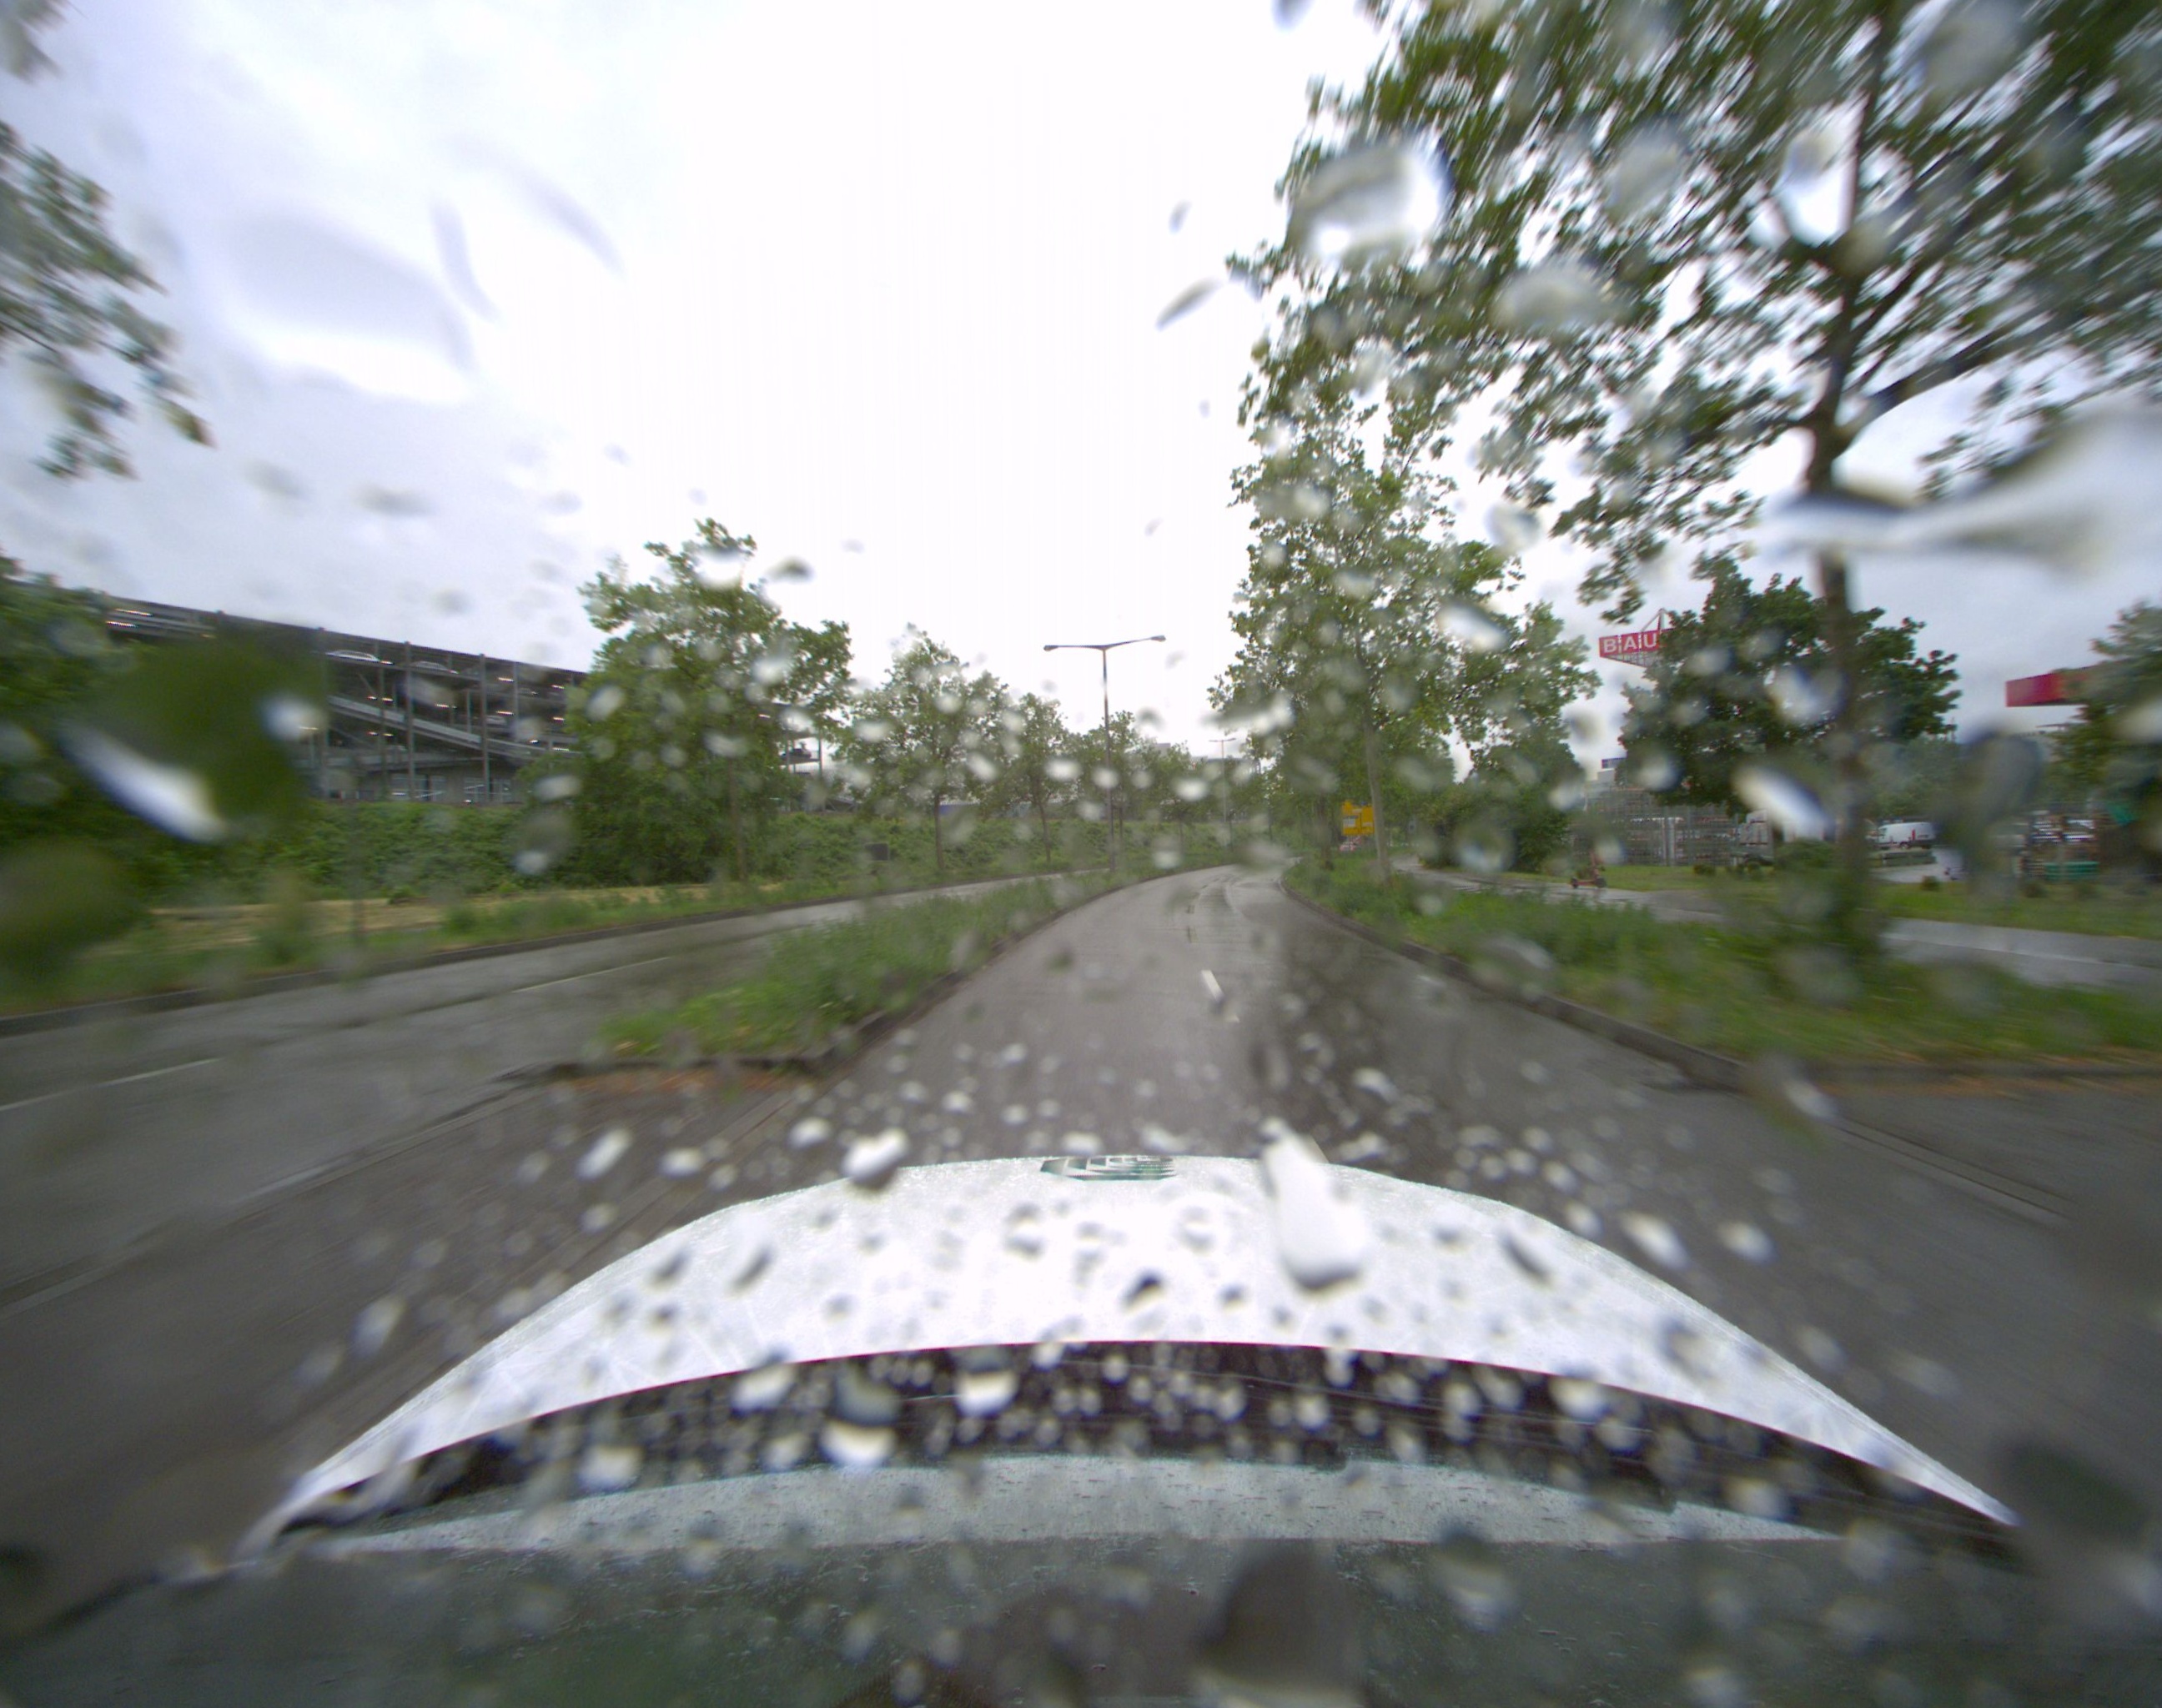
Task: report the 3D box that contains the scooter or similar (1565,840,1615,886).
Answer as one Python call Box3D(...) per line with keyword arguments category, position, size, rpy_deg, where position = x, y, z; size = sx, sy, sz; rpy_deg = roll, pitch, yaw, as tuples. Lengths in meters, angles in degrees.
Box3D(category="scooter or similar", position=(13.540, 0.230, 21.681), size=(0.547, 1.198, 1.109), rpy_deg=(-2, 0, -5))

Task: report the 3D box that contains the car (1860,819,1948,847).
Box3D(category="car", position=(54.490, -1.358, 54.036), size=(1.773, 1.669, 4.000), rpy_deg=(-2, 0, 0))

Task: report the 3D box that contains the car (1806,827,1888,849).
Box3D(category="car", position=(51.752, -1.081, 55.113), size=(1.773, 1.375, 4.000), rpy_deg=(-2, 0, 0))

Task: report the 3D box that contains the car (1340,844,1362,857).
Box3D(category="car", position=(33.388, -0.423, 100.622), size=(1.762, 1.555, 4.025), rpy_deg=(0, 1, 29))
